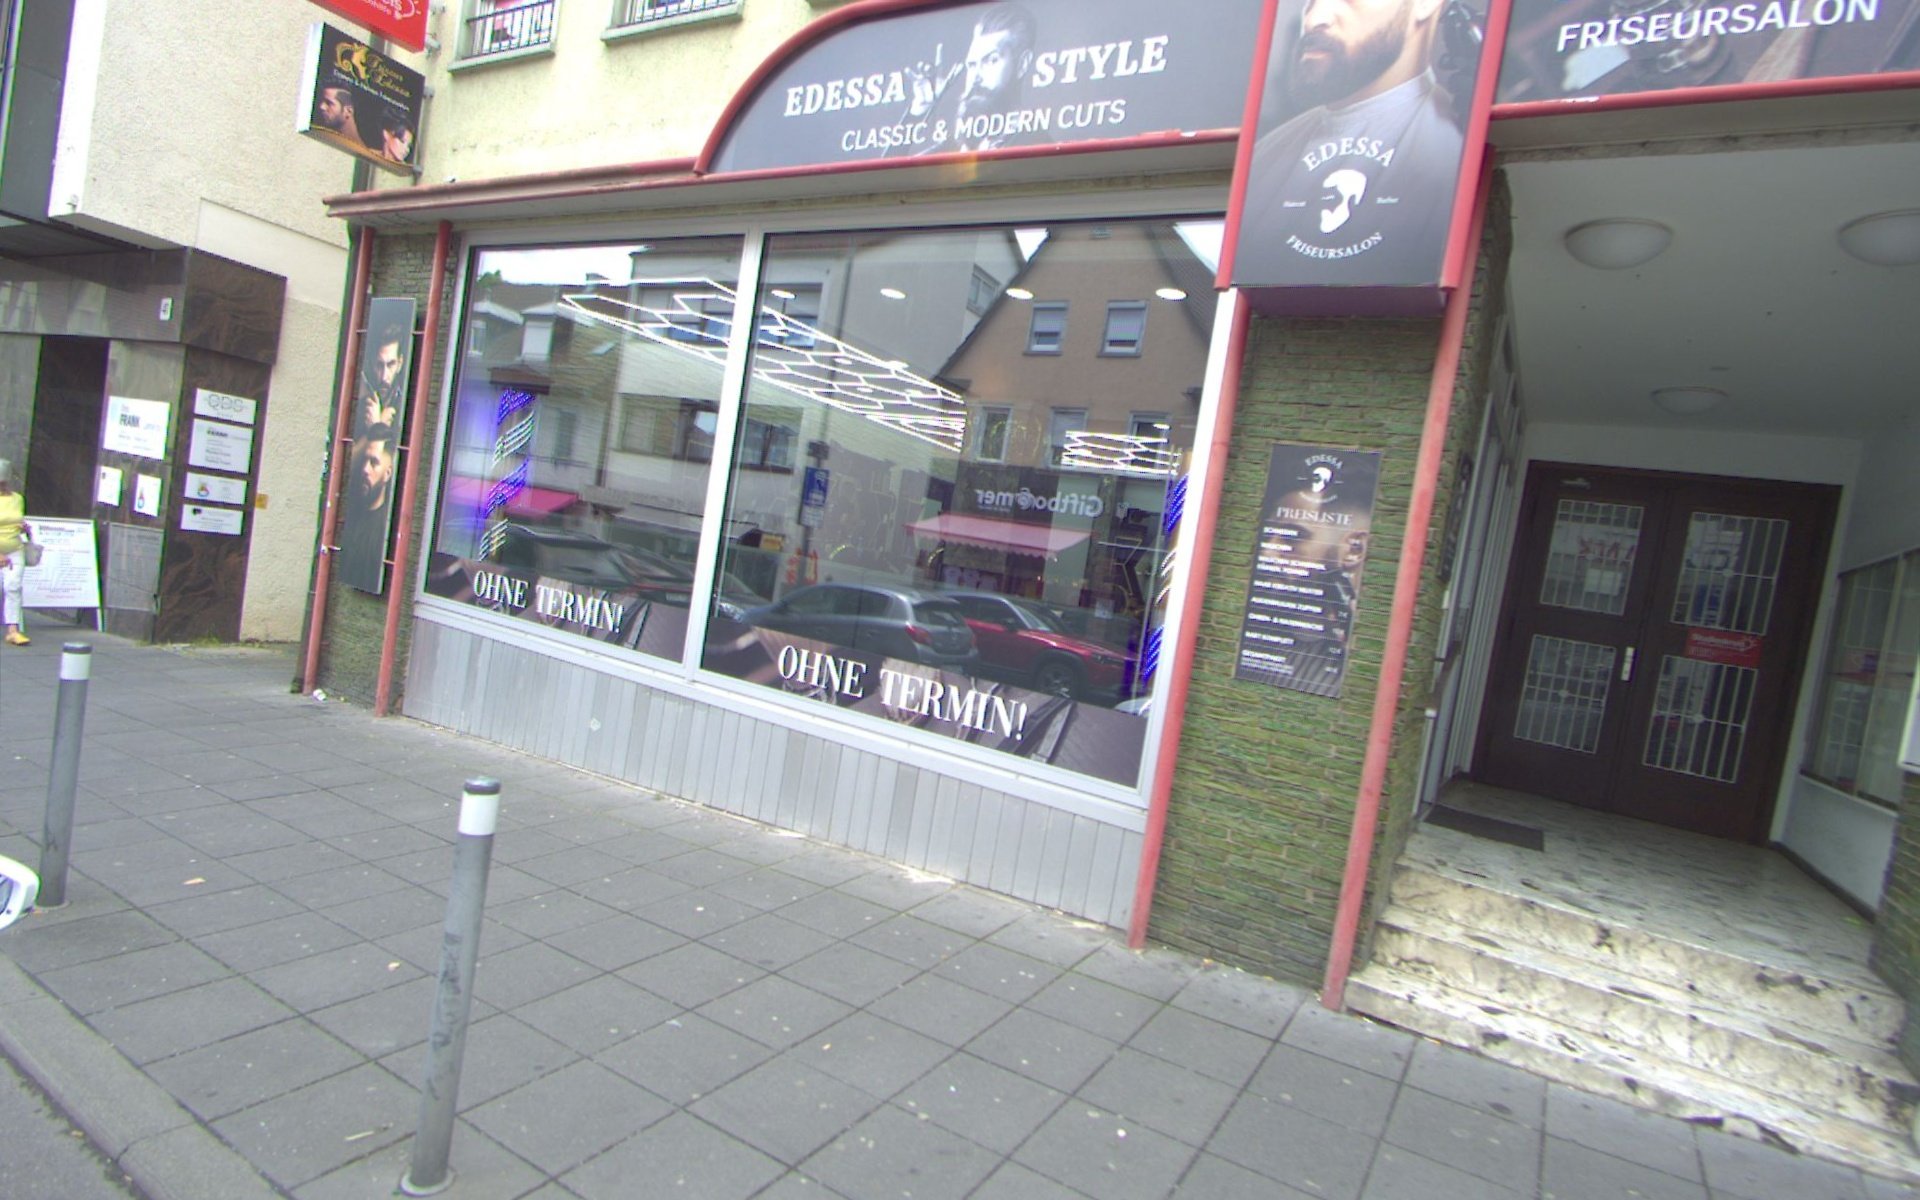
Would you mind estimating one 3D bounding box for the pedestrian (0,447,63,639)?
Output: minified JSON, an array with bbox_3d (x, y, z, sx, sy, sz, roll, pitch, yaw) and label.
[{"bbox_3d":[-8.559,-0.525,8.871,0.821,1.653,0.711,8,4,31],"label":"pedestrian"}]
